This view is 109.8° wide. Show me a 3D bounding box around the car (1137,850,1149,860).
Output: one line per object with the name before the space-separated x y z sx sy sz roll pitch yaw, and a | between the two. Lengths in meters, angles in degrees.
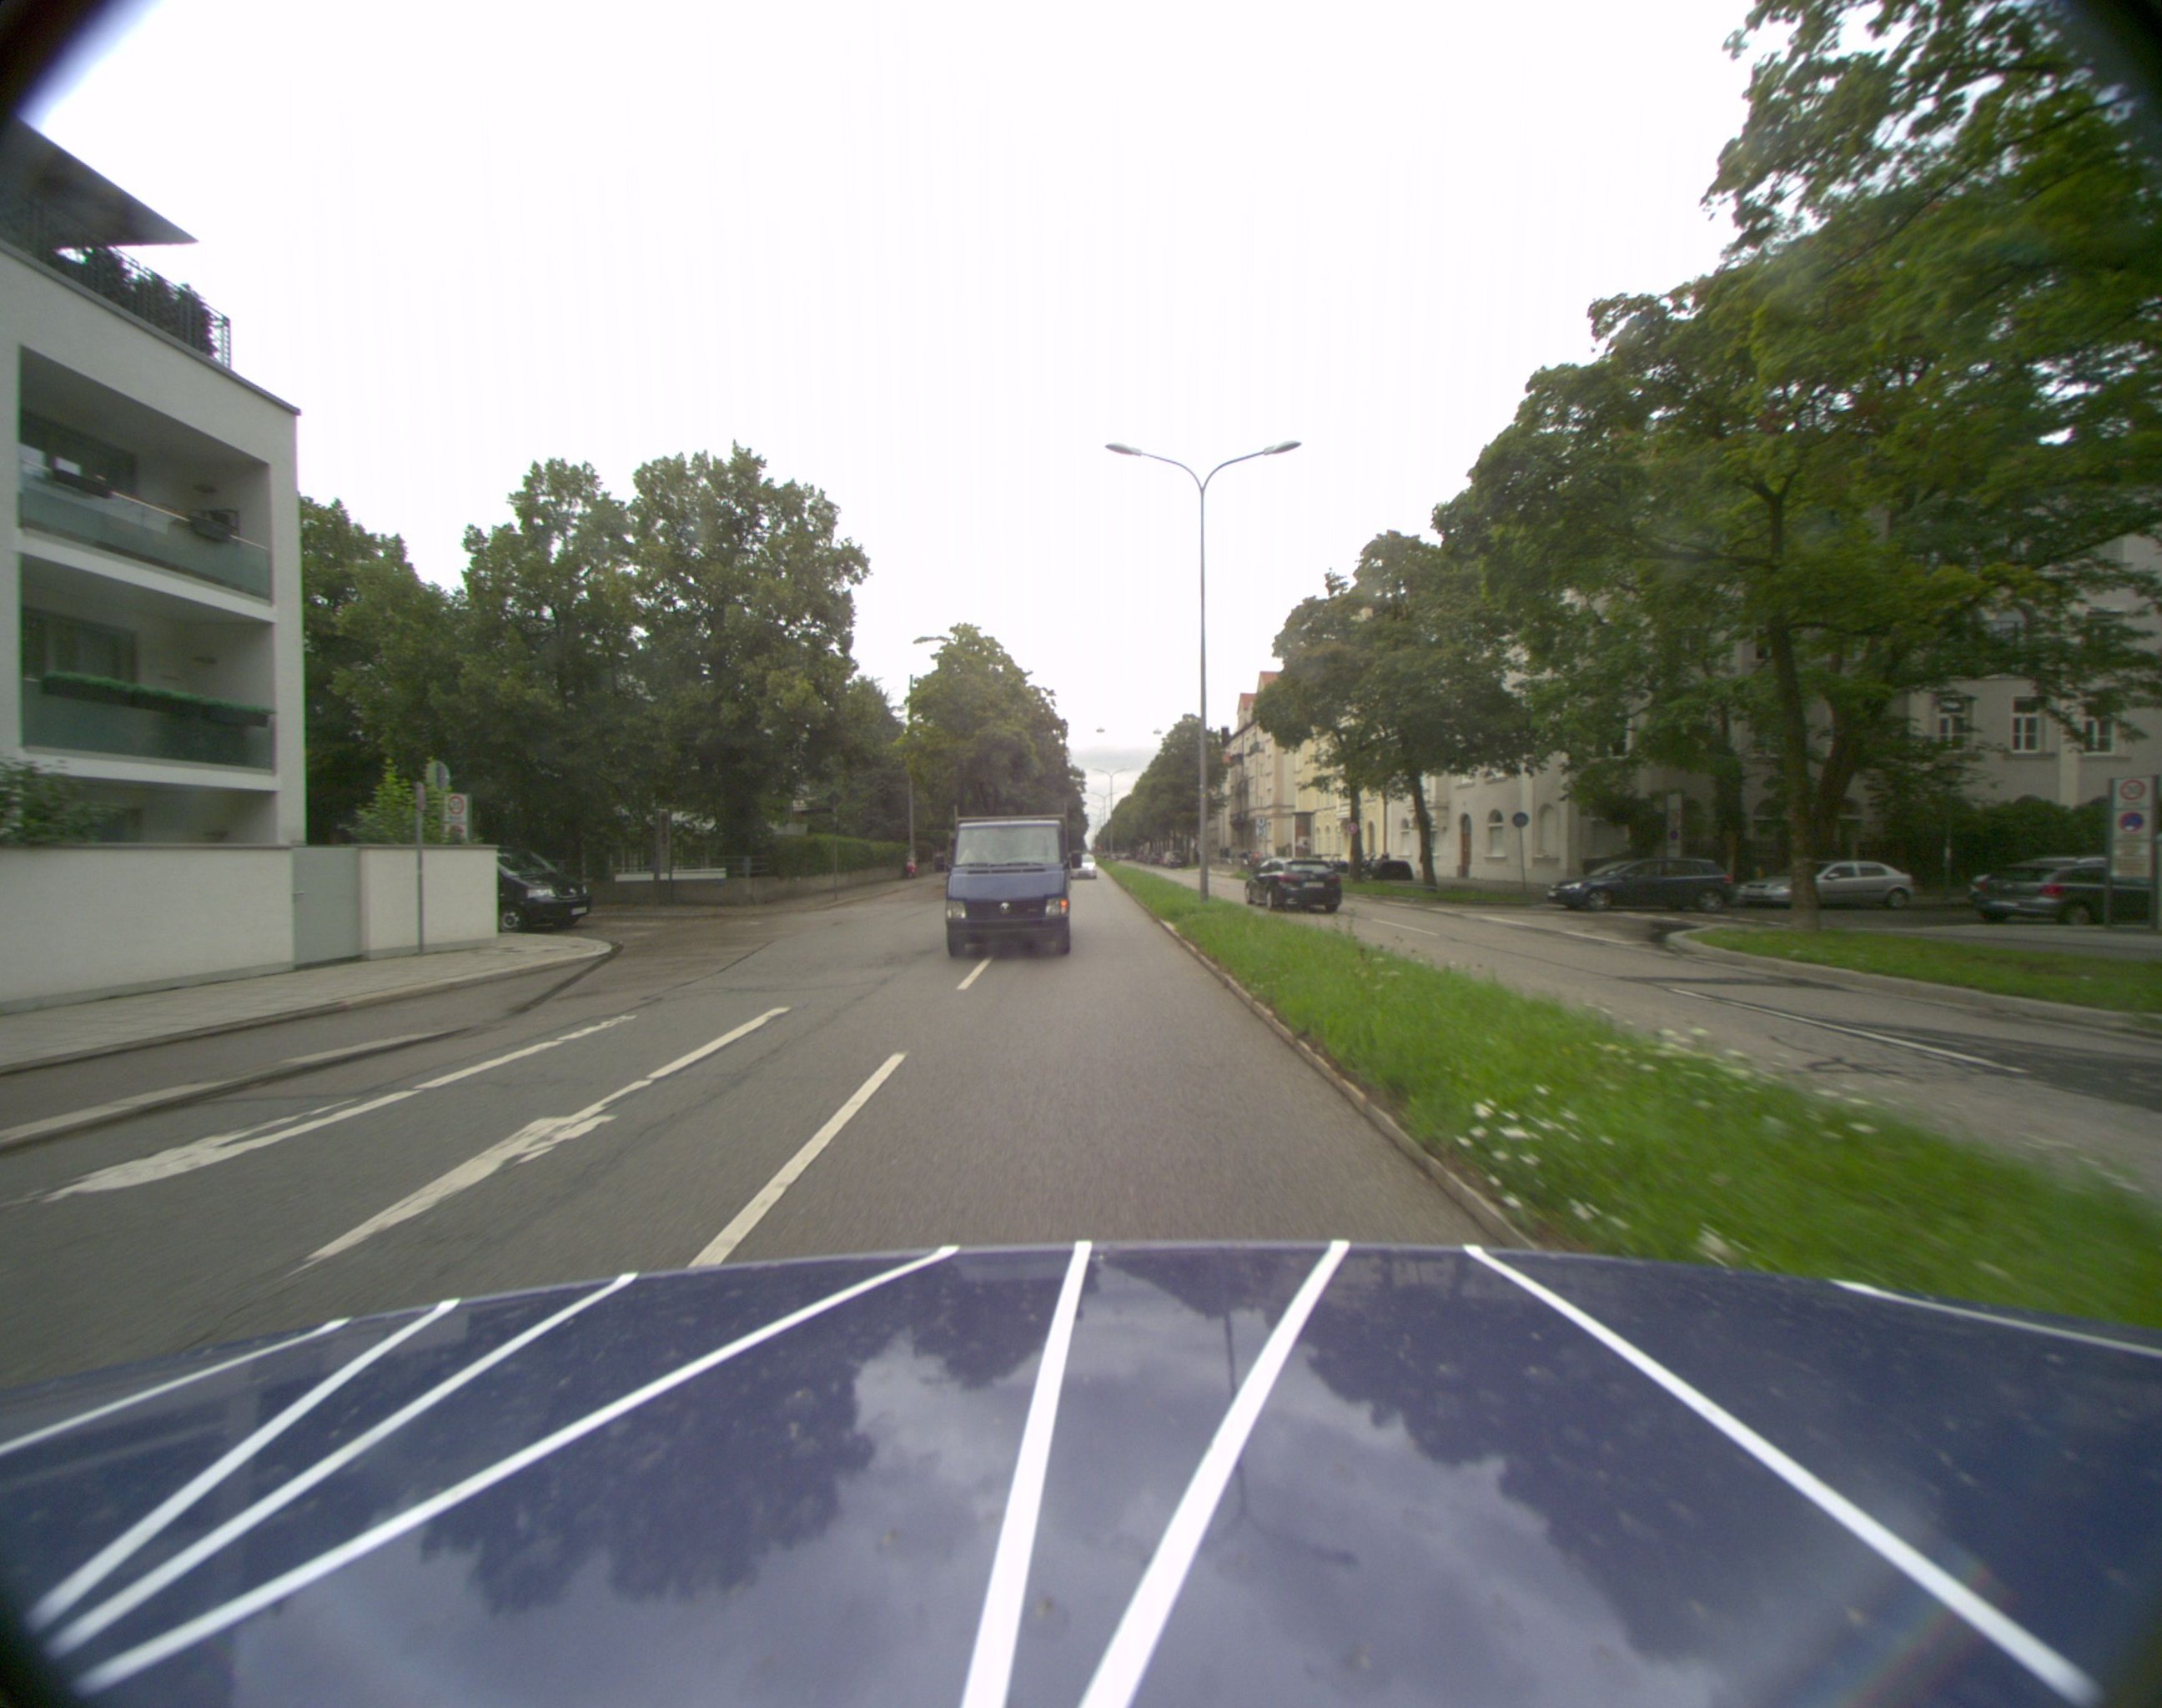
car | 11.492 0.230 141.079 1.872 1.827 4.000 0 0 1

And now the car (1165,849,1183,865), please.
car | 11.422 0.344 93.947 1.790 2.002 4.000 0 0 1

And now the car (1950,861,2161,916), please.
car | 28.282 0.977 22.101 3.997 1.476 1.795 0 1 -1

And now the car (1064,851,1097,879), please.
car | -0.050 0.625 47.251 1.946 1.642 3.999 0 0 0

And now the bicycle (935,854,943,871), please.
bicycle | -9.494 0.540 50.961 0.490 1.093 1.631 -1 1 -9

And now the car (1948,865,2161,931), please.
car | 22.677 0.958 17.304 3.706 1.363 1.912 0 1 -1

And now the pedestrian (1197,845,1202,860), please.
pedestrian | 16.147 -0.212 103.172 0.641 2.031 0.738 0 1 12

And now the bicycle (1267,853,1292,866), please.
bicycle | 17.052 0.466 65.265 1.954 1.143 0.597 0 1 21

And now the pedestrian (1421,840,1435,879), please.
pedestrian | 18.208 0.288 39.863 0.599 2.048 0.685 0 1 20

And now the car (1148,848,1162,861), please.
car | 11.030 0.079 113.575 1.872 1.827 4.000 0 0 1

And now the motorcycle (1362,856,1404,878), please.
motorcycle | 16.079 0.695 40.472 1.952 1.143 0.597 0 1 38

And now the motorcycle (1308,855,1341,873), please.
motorcycle | 15.161 0.626 47.291 1.954 1.143 0.597 0 1 21

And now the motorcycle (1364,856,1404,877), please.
motorcycle | 16.621 0.671 41.678 1.952 1.143 0.597 0 1 38

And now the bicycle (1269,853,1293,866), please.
bicycle | 16.954 0.479 64.415 1.954 1.143 0.597 0 1 21

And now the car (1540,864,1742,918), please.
car | 15.041 0.979 20.652 3.993 1.367 1.864 -1 0 12

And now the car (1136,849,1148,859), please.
car | 11.701 -0.047 146.119 1.872 1.827 4.000 0 0 1

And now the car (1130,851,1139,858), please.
car | 12.538 0.106 178.864 1.872 1.827 4.000 0 0 1

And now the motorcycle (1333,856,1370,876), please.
motorcycle | 15.578 0.664 43.806 1.952 1.143 0.597 0 1 38

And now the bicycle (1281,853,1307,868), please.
bicycle | 17.000 0.537 60.724 1.954 1.143 0.597 0 1 21

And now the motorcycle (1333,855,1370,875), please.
motorcycle | 15.913 0.641 44.770 1.952 1.143 0.597 0 1 38

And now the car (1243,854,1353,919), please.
car | 5.803 0.800 20.878 1.815 1.498 4.323 2 0 1

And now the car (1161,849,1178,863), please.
car | 11.906 0.222 102.932 1.872 1.827 4.000 0 0 1

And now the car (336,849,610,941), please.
car | -13.501 0.864 17.057 4.730 1.913 1.875 0 2 4

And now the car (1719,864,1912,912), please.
car | 21.572 0.974 22.430 3.997 1.314 1.795 0 1 -1

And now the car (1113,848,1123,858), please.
car | 7.240 -0.220 149.931 1.814 1.761 4.000 0 0 1

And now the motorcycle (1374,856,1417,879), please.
motorcycle | 16.079 0.689 38.893 1.952 1.143 0.597 0 1 38

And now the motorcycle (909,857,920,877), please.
motorcycle | -9.513 0.732 43.435 0.497 1.135 1.631 -1 1 -9

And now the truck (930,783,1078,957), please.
truck | -1.111 0.221 13.438 1.998 2.475 5.151 0 0 1
